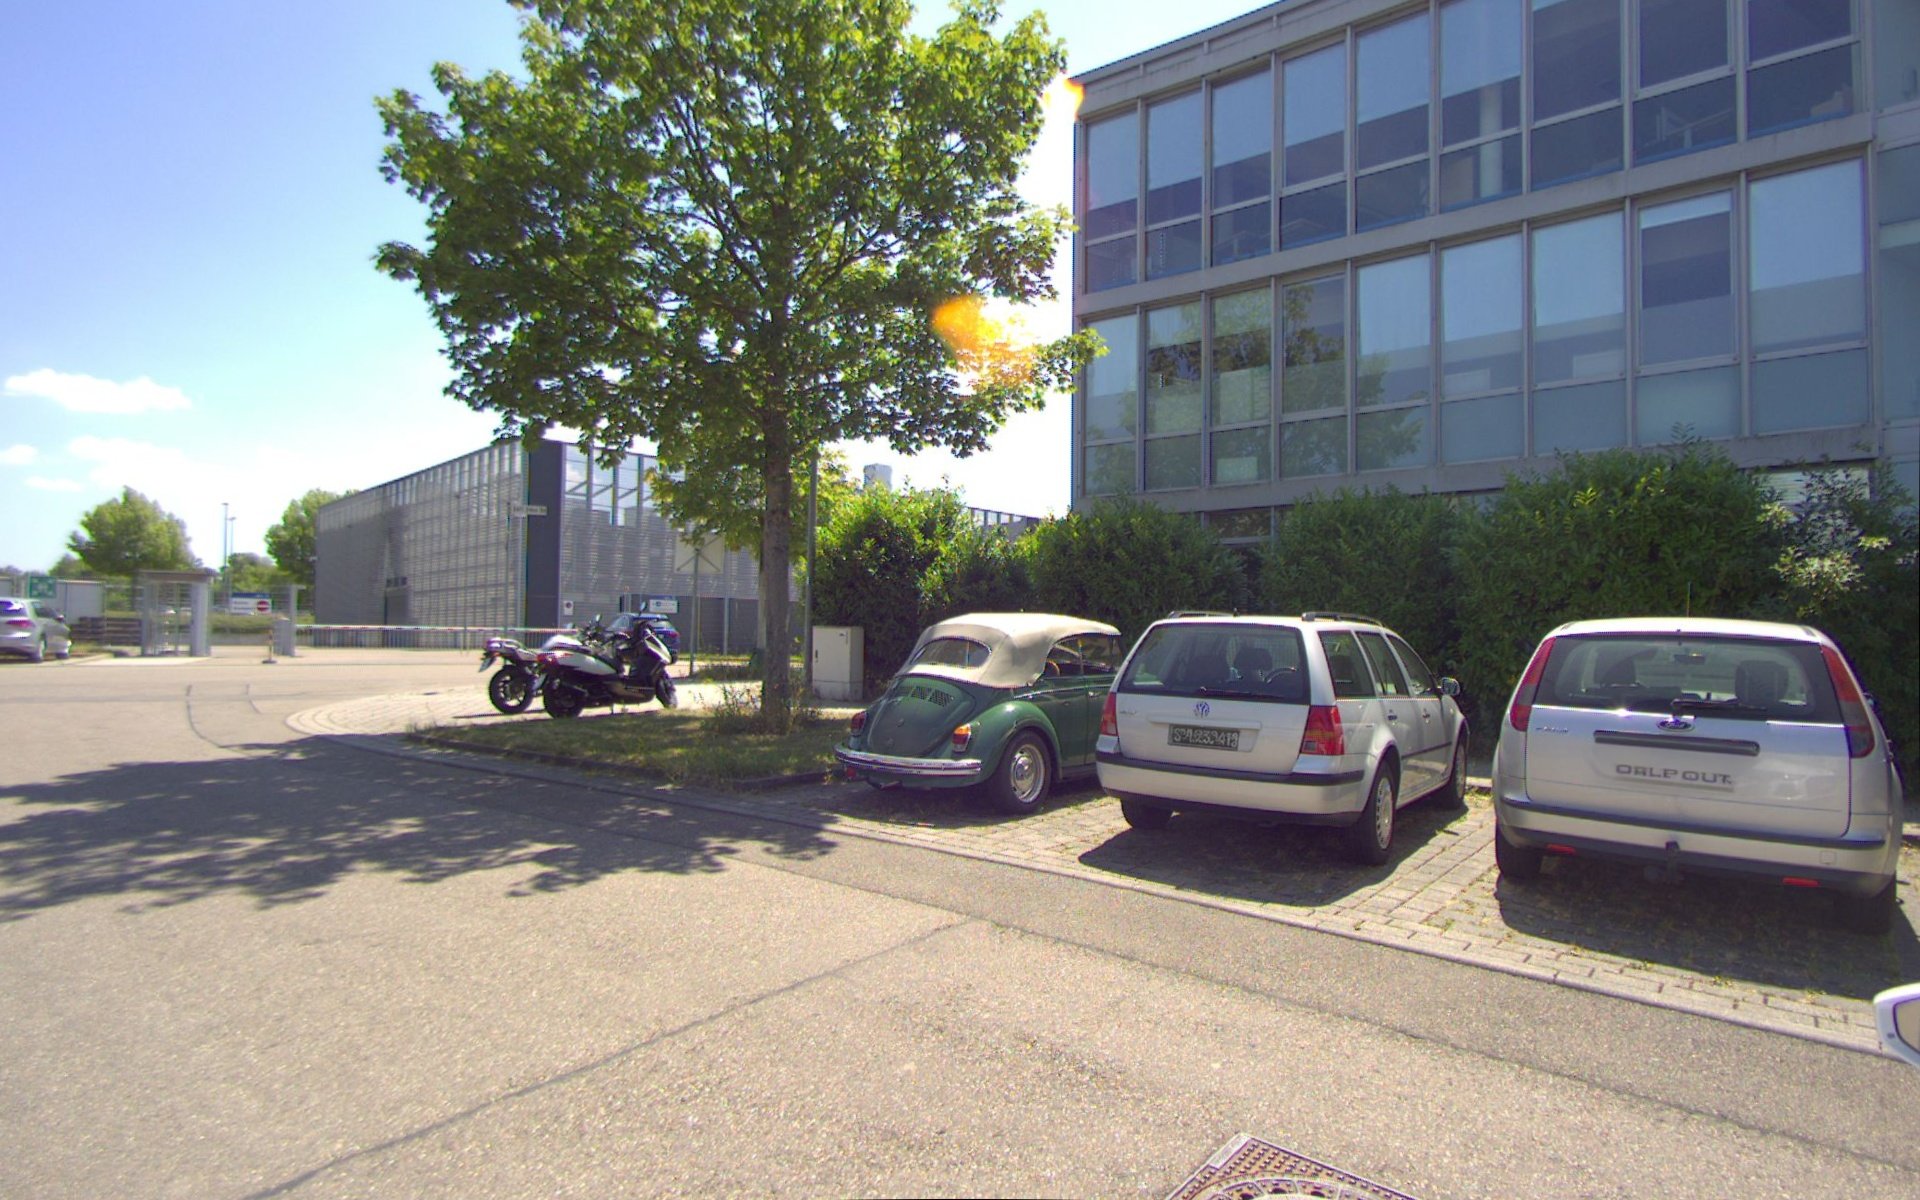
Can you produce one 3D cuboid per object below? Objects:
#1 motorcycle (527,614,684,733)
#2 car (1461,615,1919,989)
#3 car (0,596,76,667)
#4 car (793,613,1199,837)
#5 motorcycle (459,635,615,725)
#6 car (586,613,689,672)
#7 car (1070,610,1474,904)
[{"bbox_3d":[-4.514,0.901,12.940,0.476,1.408,1.983,0,-1,35],"label":"motorcycle"},{"bbox_3d":[4.571,0.894,6.298,1.698,1.498,4.330,0,-2,39],"label":"car"},{"bbox_3d":[-22.083,0.695,23.329,1.635,1.542,3.966,2,-2,-32],"label":"car"},{"bbox_3d":[0.535,0.893,8.680,1.626,1.467,3.879,0,-2,36],"label":"car"},{"bbox_3d":[-5.707,1.040,13.675,0.476,1.123,1.983,0,-1,35],"label":"motorcycle"},{"bbox_3d":[-9.596,1.228,29.721,1.978,1.616,3.965,1,-2,-32],"label":"car"},{"bbox_3d":[2.466,0.877,7.222,1.626,1.498,3.879,0,-2,36],"label":"car"}]
